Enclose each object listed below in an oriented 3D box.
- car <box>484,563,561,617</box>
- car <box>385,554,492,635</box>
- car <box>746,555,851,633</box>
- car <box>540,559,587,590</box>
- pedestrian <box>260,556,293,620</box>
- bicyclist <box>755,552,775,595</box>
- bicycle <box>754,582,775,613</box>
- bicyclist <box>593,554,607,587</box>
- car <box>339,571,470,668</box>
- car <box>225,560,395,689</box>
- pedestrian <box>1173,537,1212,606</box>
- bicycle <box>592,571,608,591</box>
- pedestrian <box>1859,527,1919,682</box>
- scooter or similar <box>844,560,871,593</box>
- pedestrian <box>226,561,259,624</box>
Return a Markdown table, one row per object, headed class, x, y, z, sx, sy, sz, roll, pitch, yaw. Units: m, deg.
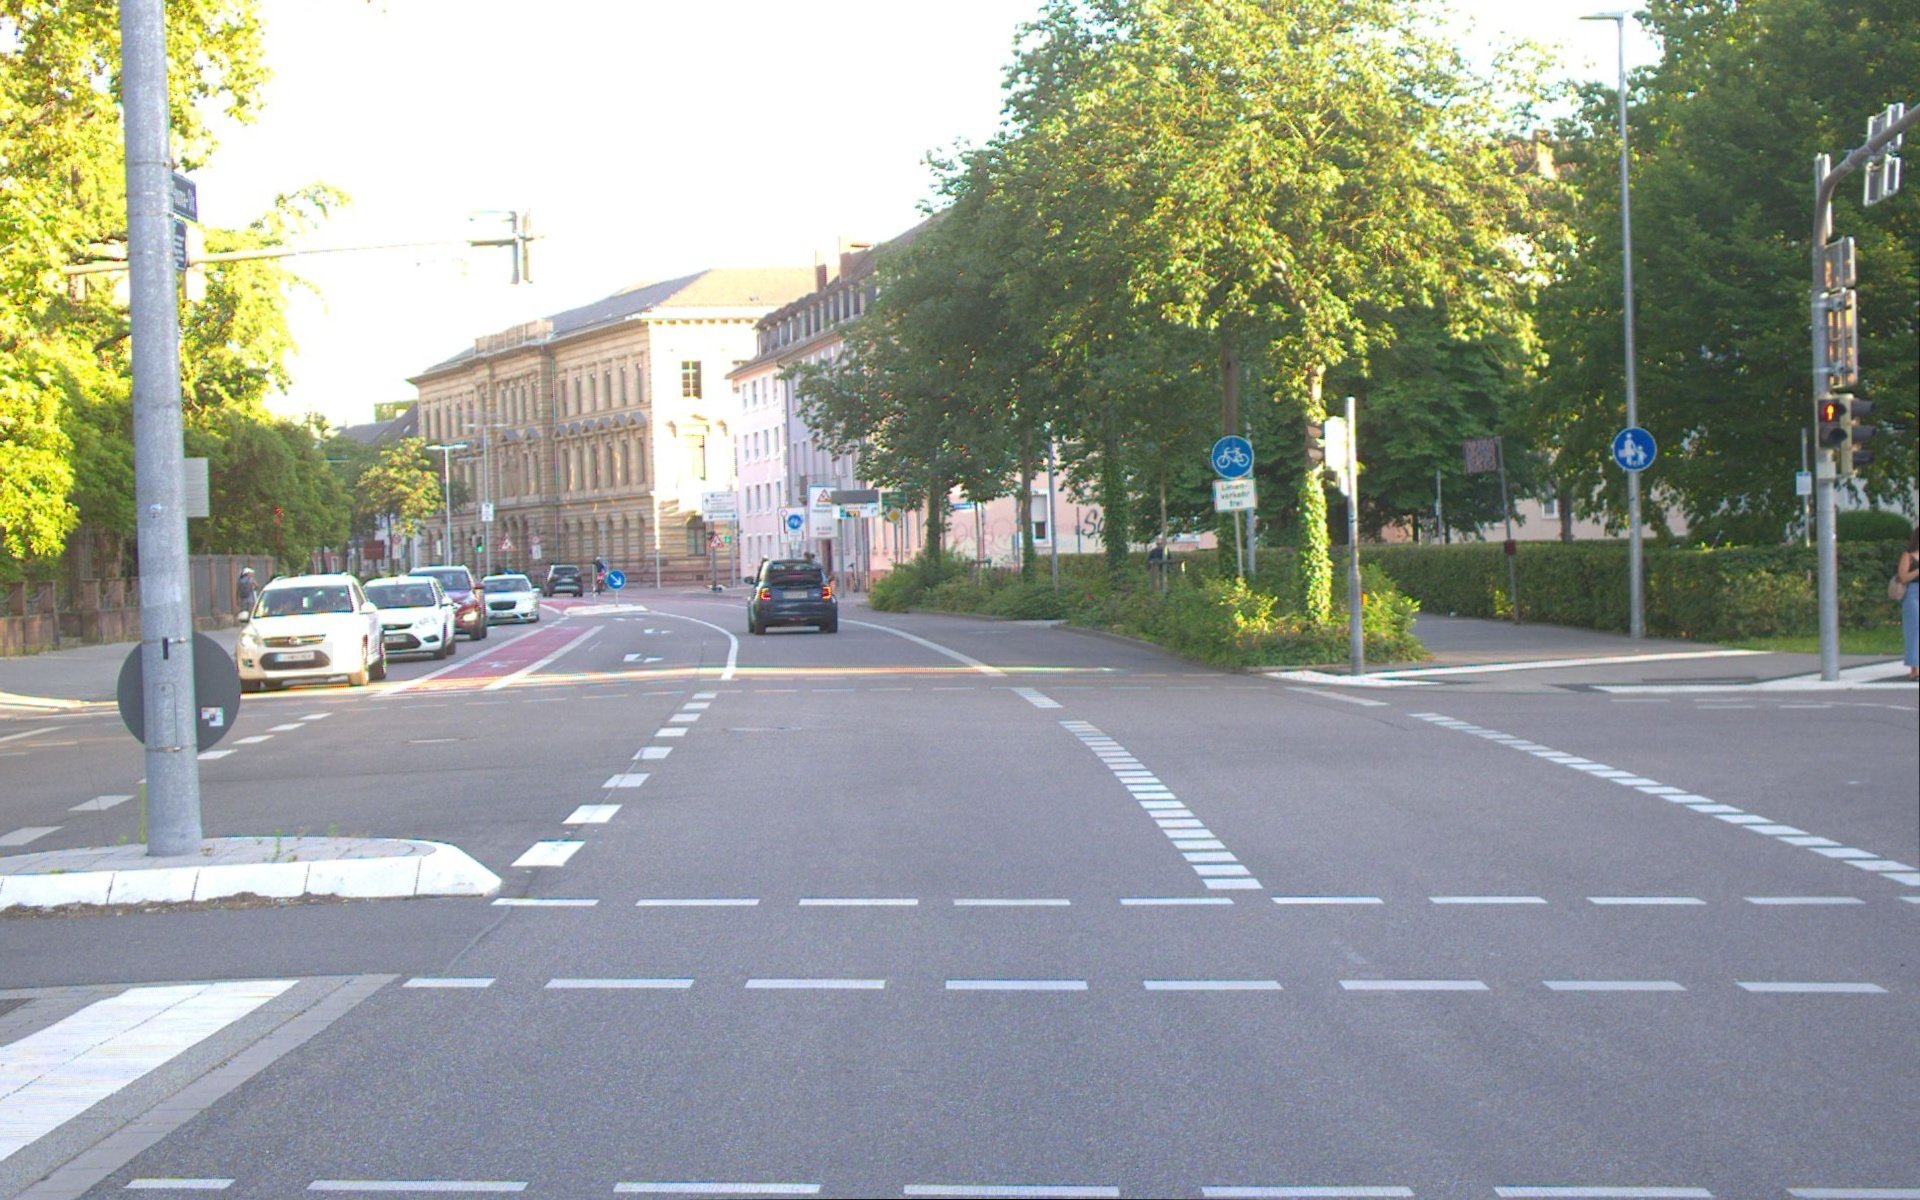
| class | x | y | z | sx | sy | sz | roll | pitch | yaw |
| --- | --- | --- | --- | --- | --- | --- | --- | --- | --- |
| car | -12.657 | -0.309 | 99.658 | 1.916 | 1.413 | 4.771 | -3 | 1 | -5 |
| car | -11.477 | -0.145 | 75.872 | 1.916 | 1.619 | 4.640 | -3 | 1 | -5 |
| car | -3.354 | -0.140 | 70.810 | 1.867 | 1.504 | 4.001 | -2 | 1 | -7 |
| car | -19.629 | -1.279 | 170.083 | 1.916 | 1.413 | 4.771 | -4 | 1 | -10 |
| pedestrian | -17.614 | -0.308 | 88.595 | 0.681 | 1.617 | 0.688 | -2 | 1 | -1 |
| bicyclist | -6.528 | -0.882 | 115.202 | 0.652 | 1.441 | 0.879 | 1 | 0 | -3 |
| bicycle | -6.547 | -0.096 | 115.238 | 0.652 | 1.012 | 2.198 | 1 | 1 | -3 |
| bicyclist | -18.496 | -1.508 | 176.531 | 0.652 | 1.692 | 0.957 | 1 | 0 | -10 |
| car | -10.100 | 0.325 | 62.830 | 1.916 | 1.578 | 4.675 | -3 | 1 | -5 |
| car | -9.562 | 0.321 | 50.874 | 1.916 | 1.690 | 4.427 | -3 | 1 | -5 |
| pedestrian | 5.990 | -0.740 | 88.587 | 0.769 | 1.733 | 0.807 | -2 | 1 | -10 |
| bicycle | -18.501 | -0.999 | 176.528 | 0.652 | 1.012 | 2.198 | 1 | 1 | -10 |
| pedestrian | 10.108 | 0.039 | 36.861 | 0.681 | 1.616 | 0.845 | -2 | 1 | -1 |
| scooter or similar | -4.328 | -0.991 | 145.351 | 0.629 | 1.332 | 2.401 | -1 | 1 | -14 |
| pedestrian | -18.516 | -0.197 | 88.756 | 0.681 | 1.617 | 0.688 | -2 | 1 | -1 |
